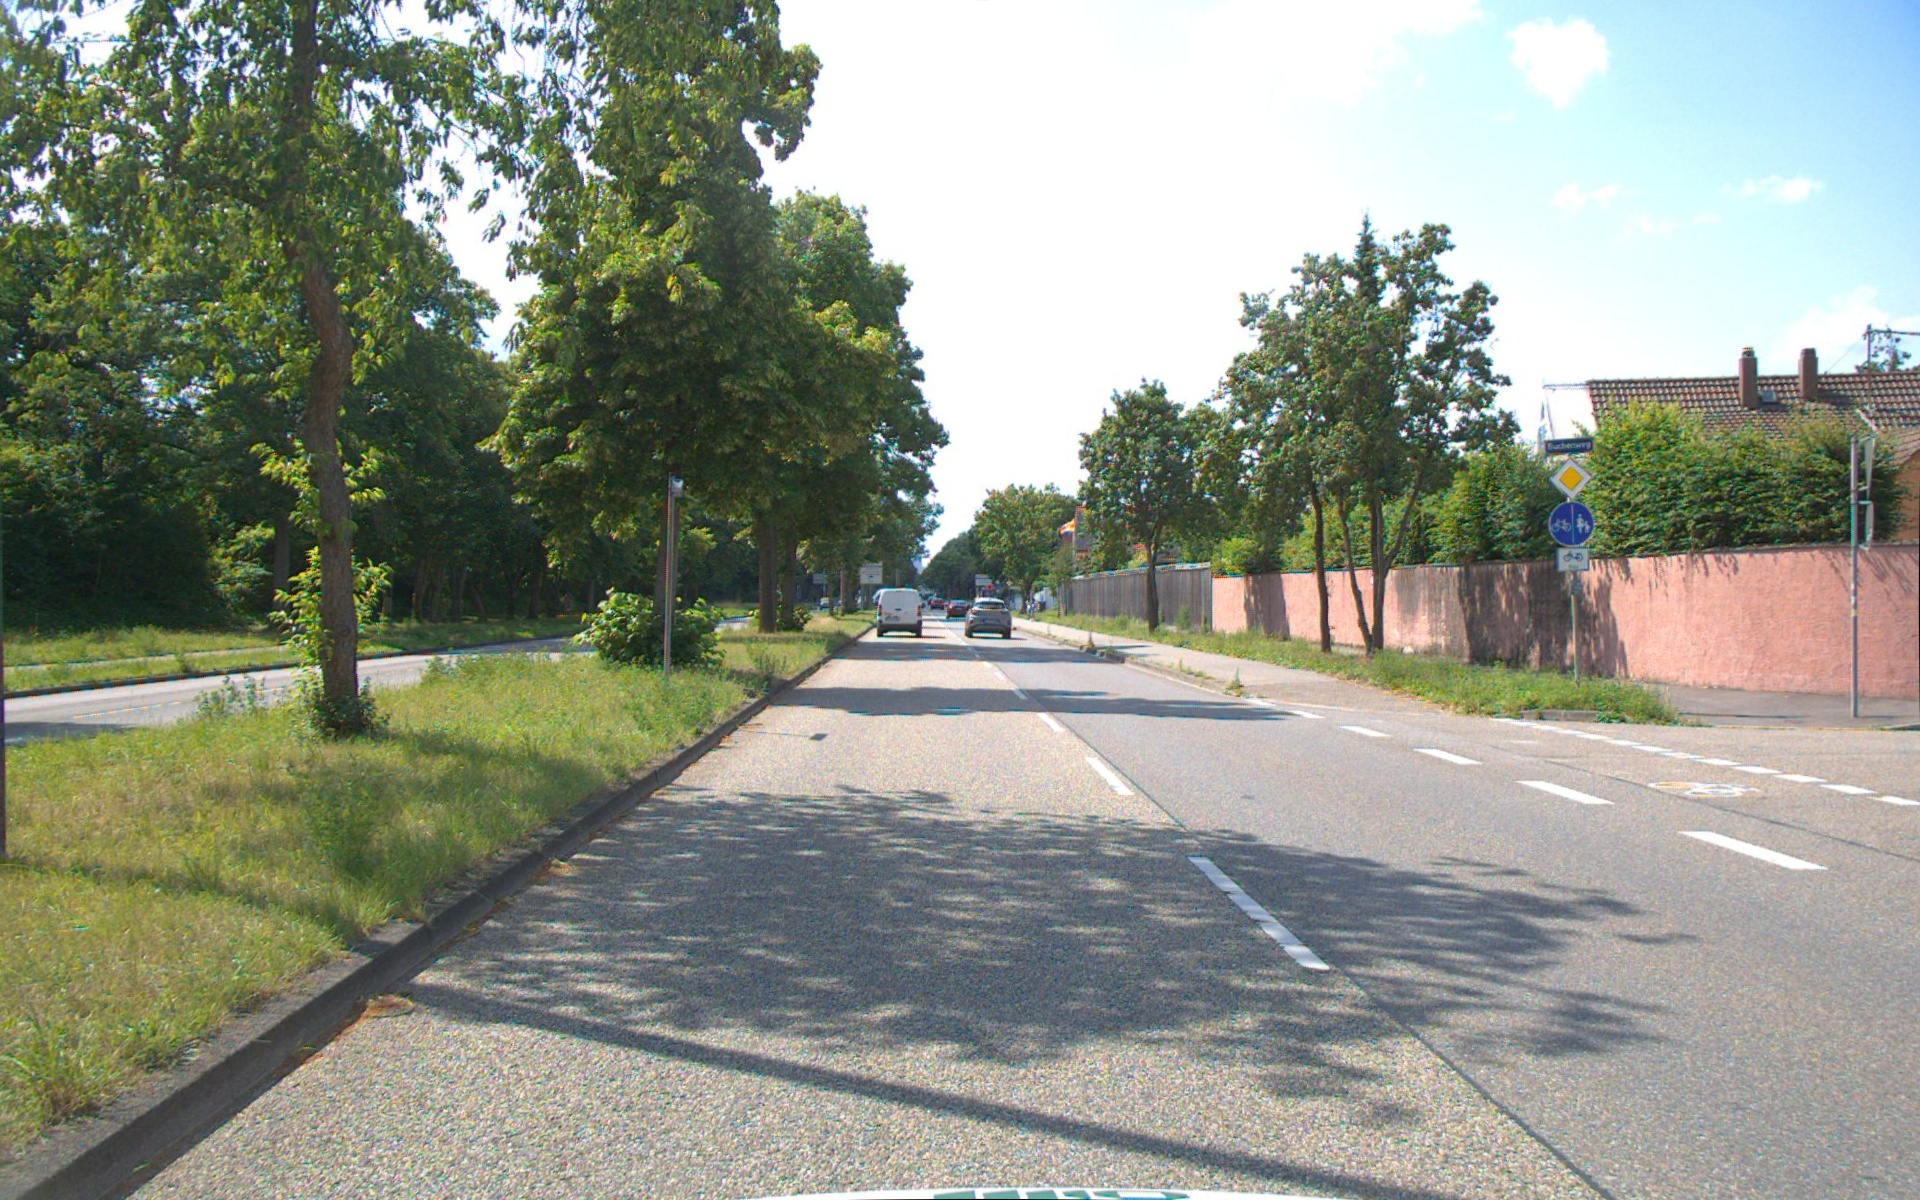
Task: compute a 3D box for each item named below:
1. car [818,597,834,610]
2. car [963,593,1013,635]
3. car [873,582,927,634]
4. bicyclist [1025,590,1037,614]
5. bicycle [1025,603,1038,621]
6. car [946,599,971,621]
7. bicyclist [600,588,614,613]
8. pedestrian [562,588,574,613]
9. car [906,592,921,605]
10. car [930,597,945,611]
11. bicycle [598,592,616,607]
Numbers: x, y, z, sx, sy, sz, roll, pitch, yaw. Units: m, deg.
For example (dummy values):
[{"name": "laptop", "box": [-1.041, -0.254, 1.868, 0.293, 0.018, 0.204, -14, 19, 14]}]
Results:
[{"name": "car", "box": [-18.699, 0.437, 230.395, 1.953, 1.735, 4.192, 0, 0, -1]}, {"name": "car", "box": [1.075, 0.537, 66.224, 1.837, 1.617, 4.183, 0, 0, -1]}, {"name": "car", "box": [-2.329, 0.296, 65.197, 2.024, 1.945, 4.645, 0, 0, -2]}, {"name": "bicyclist", "box": [4.417, 0.138, 102.722, 0.641, 1.436, 0.986, -2, 0, -1]}, {"name": "bicycle", "box": [4.431, 0.727, 102.793, 0.633, 1.086, 2.278, -2, 0, -1]}, {"name": "car", "box": [-0.143, 0.724, 127.048, 1.842, 1.615, 3.999, 0, 0, -2]}, {"name": "bicyclist", "box": [-20.709, 0.027, 97.052, 0.605, 1.473, 0.729, 0, 0, 1]}, {"name": "pedestrian", "box": [-27.009, 0.038, 113.967, 0.631, 1.658, 0.656, 1, 0, -1]}, {"name": "car", "box": [-6.321, -0.204, 224.828, 1.902, 1.798, 4.145, 0, 0, -1]}, {"name": "car", "box": [-2.972, 0.537, 221.238, 1.953, 1.803, 4.146, 1, 0, -2]}, {"name": "bicycle", "box": [-20.709, -0.028, 96.941, 0.605, 0.894, 1.915, 0, 0, 1]}]
